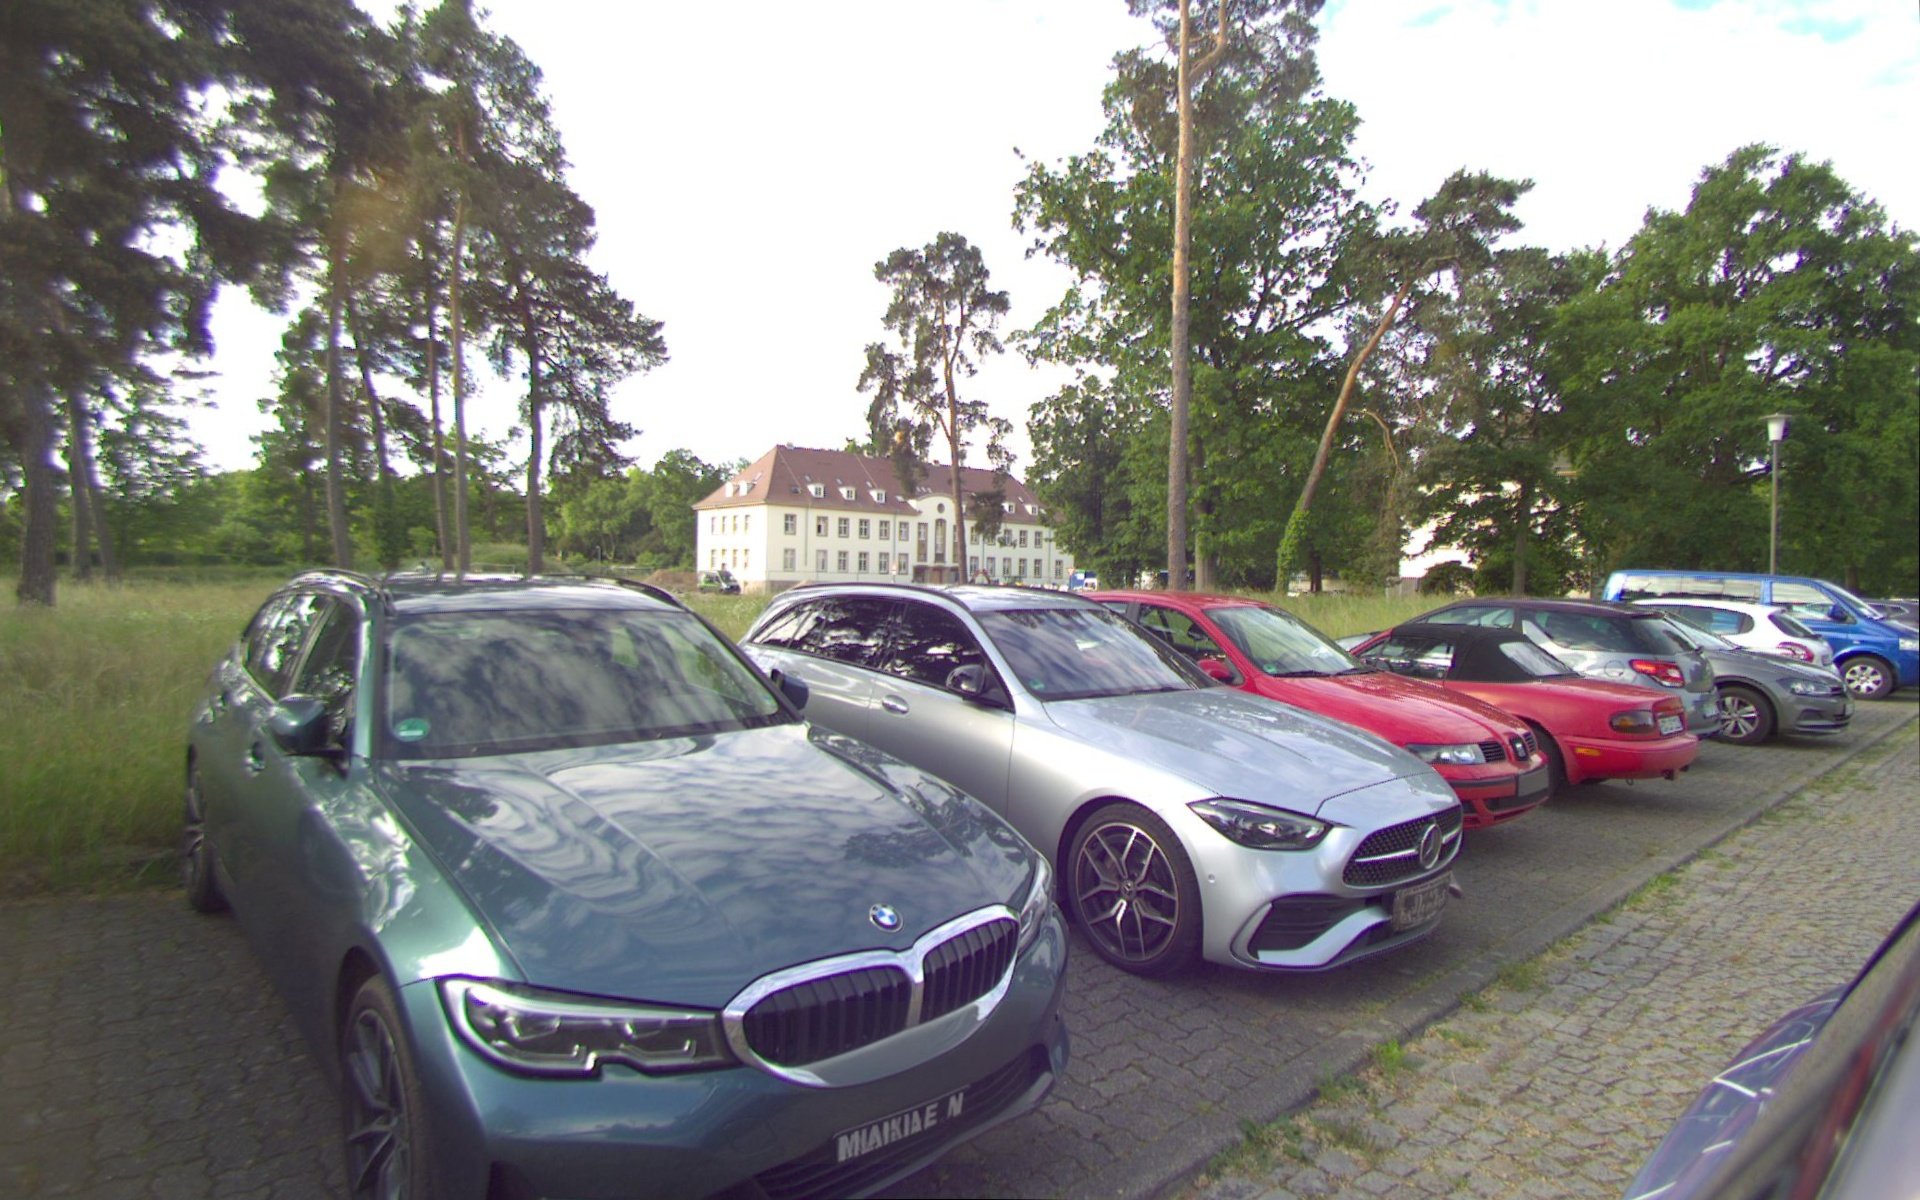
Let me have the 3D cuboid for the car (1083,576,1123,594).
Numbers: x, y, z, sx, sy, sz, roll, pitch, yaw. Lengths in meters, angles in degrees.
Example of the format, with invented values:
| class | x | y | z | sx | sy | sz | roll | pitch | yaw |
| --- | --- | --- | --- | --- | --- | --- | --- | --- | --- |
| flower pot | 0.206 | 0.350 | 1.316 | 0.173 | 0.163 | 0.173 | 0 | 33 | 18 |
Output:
| class | x | y | z | sx | sy | sz | roll | pitch | yaw |
| --- | --- | --- | --- | --- | --- | --- | --- | --- | --- |
| car | 14.526 | -1.481 | 102.811 | 3.864 | 1.704 | 1.848 | 0 | 3 | -38 |

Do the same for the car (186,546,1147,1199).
| class | x | y | z | sx | sy | sz | roll | pitch | yaw |
| --- | --- | --- | --- | --- | --- | --- | --- | --- | --- |
| car | -1.650 | 0.594 | 3.961 | 1.777 | 1.501 | 4.518 | 0 | 2 | -43 |

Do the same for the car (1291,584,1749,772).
| class | x | y | z | sx | sy | sz | roll | pitch | yaw |
| --- | --- | --- | --- | --- | --- | --- | --- | --- | --- |
| car | 5.583 | 0.630 | 10.479 | 1.576 | 1.522 | 3.835 | 0 | 1 | -41 |

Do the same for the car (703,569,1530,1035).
| class | x | y | z | sx | sy | sz | roll | pitch | yaw |
| --- | --- | --- | --- | --- | --- | --- | --- | --- | --- |
| car | 0.420 | 0.611 | 5.513 | 1.736 | 1.446 | 4.333 | 0 | 2 | -41 |

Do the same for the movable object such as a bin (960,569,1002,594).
| class | x | y | z | sx | sy | sz | roll | pitch | yaw |
| --- | --- | --- | --- | --- | --- | --- | --- | --- | --- |
| movable object such as a bin | 2.506 | -2.182 | 120.253 | 1.994 | 2.802 | 5.121 | 2 | 1 | 44 |

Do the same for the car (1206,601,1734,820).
| class | x | y | z | sx | sy | sz | roll | pitch | yaw |
| --- | --- | --- | --- | --- | --- | --- | --- | --- | --- |
| car | 3.988 | 0.724 | 8.364 | 1.579 | 1.303 | 3.555 | 2 | 1 | -39 |

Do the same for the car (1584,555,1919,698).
| class | x | y | z | sx | sy | sz | roll | pitch | yaw |
| --- | --- | --- | --- | --- | --- | --- | --- | --- | --- |
| car | 14.022 | 0.331 | 17.589 | 2.023 | 2.047 | 4.955 | 0 | 3 | -39 |

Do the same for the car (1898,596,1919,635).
| class | x | y | z | sx | sy | sz | roll | pitch | yaw |
| --- | --- | --- | --- | --- | --- | --- | --- | --- | --- |
| car | 39.455 | 0.667 | 39.546 | 1.642 | 1.548 | 3.840 | 0 | 1 | -36 |

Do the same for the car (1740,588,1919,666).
| class | x | y | z | sx | sy | sz | roll | pitch | yaw |
| --- | --- | --- | --- | --- | --- | --- | --- | --- | --- |
| car | 20.410 | 0.579 | 23.181 | 1.555 | 1.621 | 3.831 | 0 | 1 | -44 |

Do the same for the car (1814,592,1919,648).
| class | x | y | z | sx | sy | sz | roll | pitch | yaw |
| --- | --- | --- | --- | --- | --- | --- | --- | --- | --- |
| car | 27.946 | 0.590 | 30.024 | 1.555 | 1.544 | 3.831 | 0 | 1 | -44 |

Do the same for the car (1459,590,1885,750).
| class | x | y | z | sx | sy | sz | roll | pitch | yaw |
| --- | --- | --- | --- | --- | --- | --- | --- | --- | --- |
| car | 8.137 | 0.668 | 11.864 | 1.613 | 1.484 | 3.781 | 0 | 1 | -39 |

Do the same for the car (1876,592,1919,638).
| class | x | y | z | sx | sy | sz | roll | pitch | yaw |
| --- | --- | --- | --- | --- | --- | --- | --- | --- | --- |
| car | 35.824 | 0.595 | 36.522 | 1.551 | 1.638 | 3.840 | 0 | 1 | -36 |

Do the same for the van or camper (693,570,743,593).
| class | x | y | z | sx | sy | sz | roll | pitch | yaw |
| --- | --- | --- | --- | --- | --- | --- | --- | --- | --- |
| van or camper | -24.827 | -1.946 | 103.570 | 6.062 | 2.251 | 1.969 | 2 | 1 | 43 |

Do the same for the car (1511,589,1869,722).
| class | x | y | z | sx | sy | sz | roll | pitch | yaw |
| --- | --- | --- | --- | --- | --- | --- | --- | --- | --- |
| car | 9.993 | 0.651 | 14.093 | 1.552 | 1.517 | 3.762 | 0 | 1 | -38 |

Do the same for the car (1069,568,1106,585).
| class | x | y | z | sx | sy | sz | roll | pitch | yaw |
| --- | --- | --- | --- | --- | --- | --- | --- | --- | --- |
| car | 15.294 | -2.827 | 121.440 | 3.925 | 2.039 | 2.220 | 0 | 1 | -36 |

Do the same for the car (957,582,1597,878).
| class | x | y | z | sx | sy | sz | roll | pitch | yaw |
| --- | --- | --- | --- | --- | --- | --- | --- | --- | --- |
| car | 1.941 | 0.630 | 7.252 | 1.689 | 1.441 | 4.117 | 0 | 1 | -40 |
